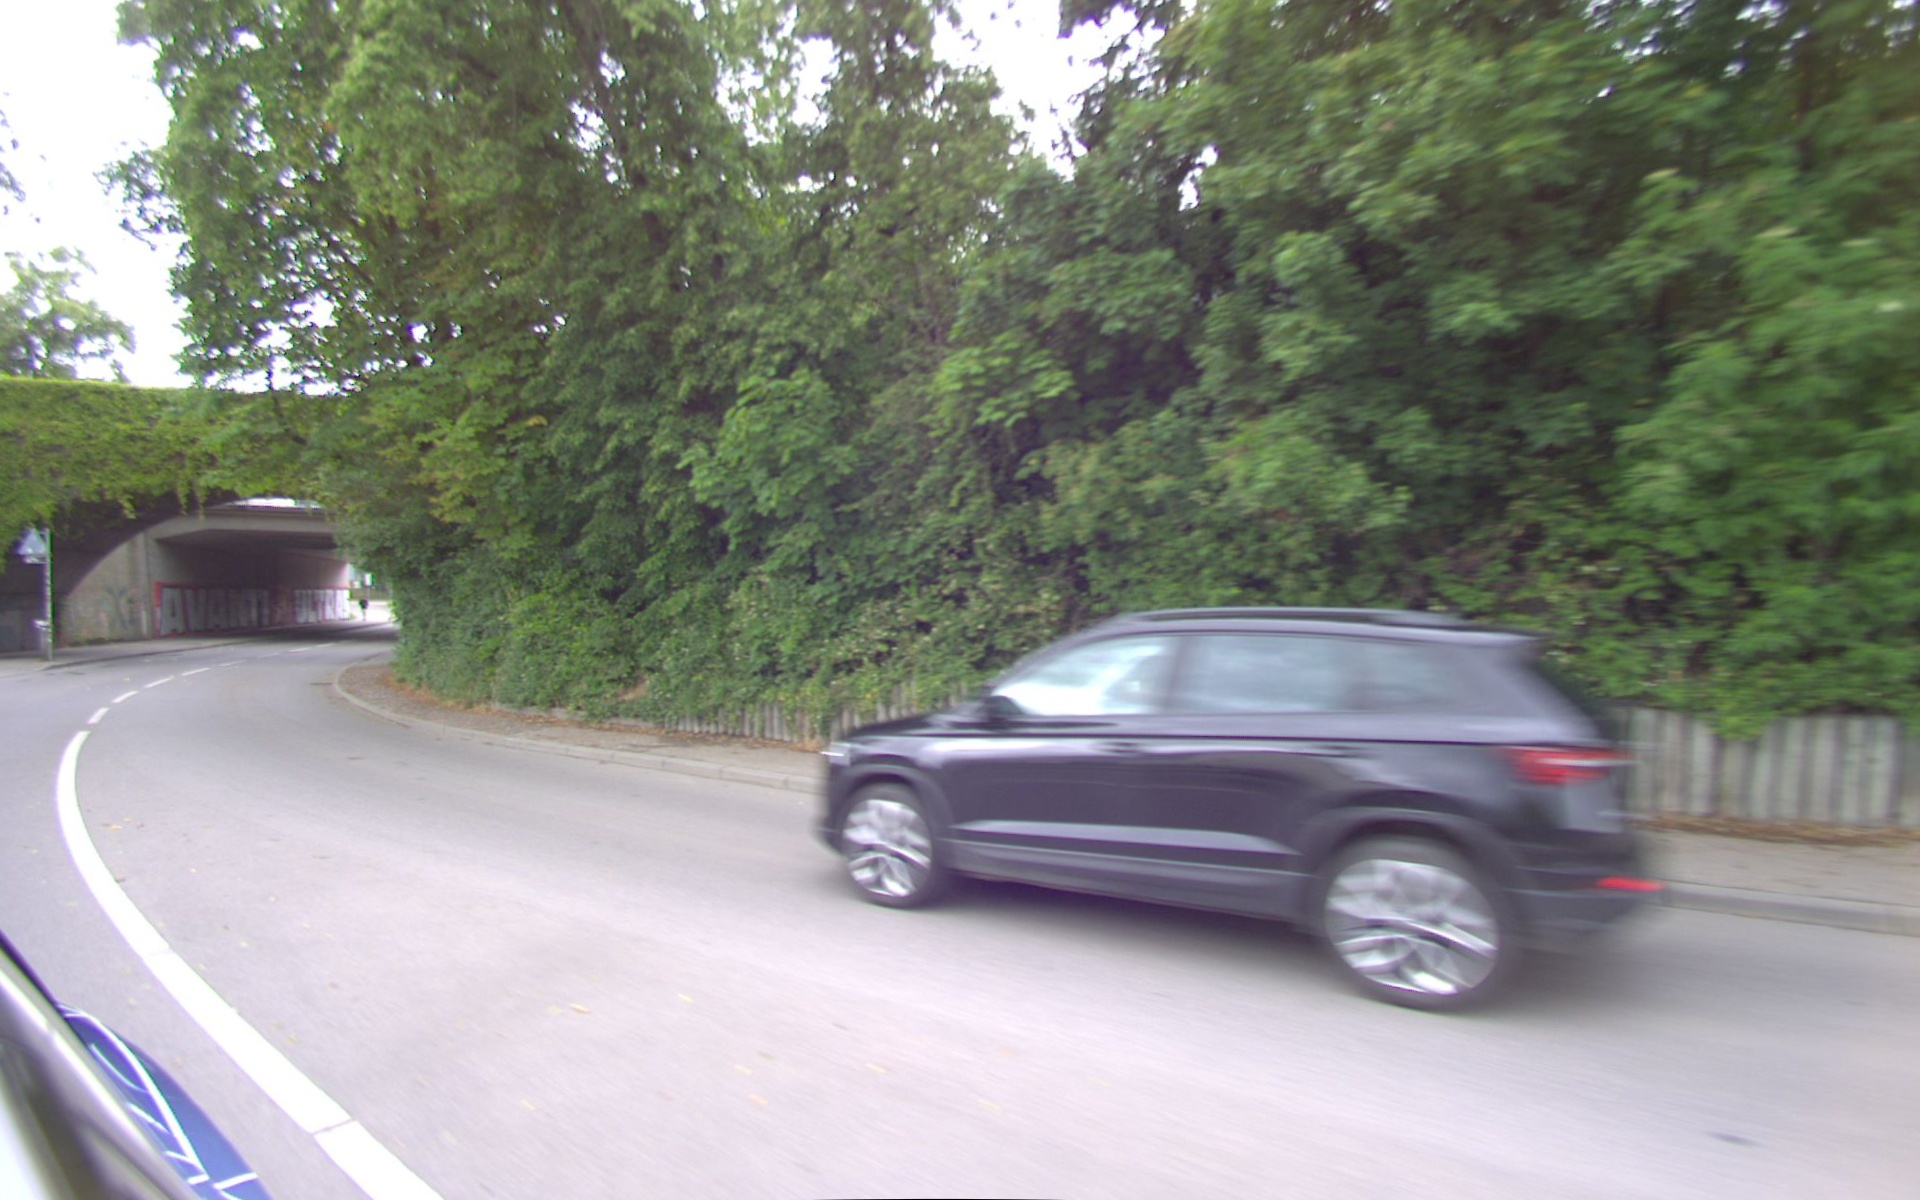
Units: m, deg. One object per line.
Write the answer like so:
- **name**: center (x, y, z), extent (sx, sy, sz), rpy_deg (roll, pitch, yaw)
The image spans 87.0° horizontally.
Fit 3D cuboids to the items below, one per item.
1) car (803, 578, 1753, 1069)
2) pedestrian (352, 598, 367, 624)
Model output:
- **car**: center (1.355, 0.805, 5.268), extent (4.164, 1.622, 1.788), rpy_deg (-1, -3, 33)
- **pedestrian**: center (-45.804, 0.814, 77.221), extent (0.808, 1.894, 1.184), rpy_deg (3, -1, -27)
